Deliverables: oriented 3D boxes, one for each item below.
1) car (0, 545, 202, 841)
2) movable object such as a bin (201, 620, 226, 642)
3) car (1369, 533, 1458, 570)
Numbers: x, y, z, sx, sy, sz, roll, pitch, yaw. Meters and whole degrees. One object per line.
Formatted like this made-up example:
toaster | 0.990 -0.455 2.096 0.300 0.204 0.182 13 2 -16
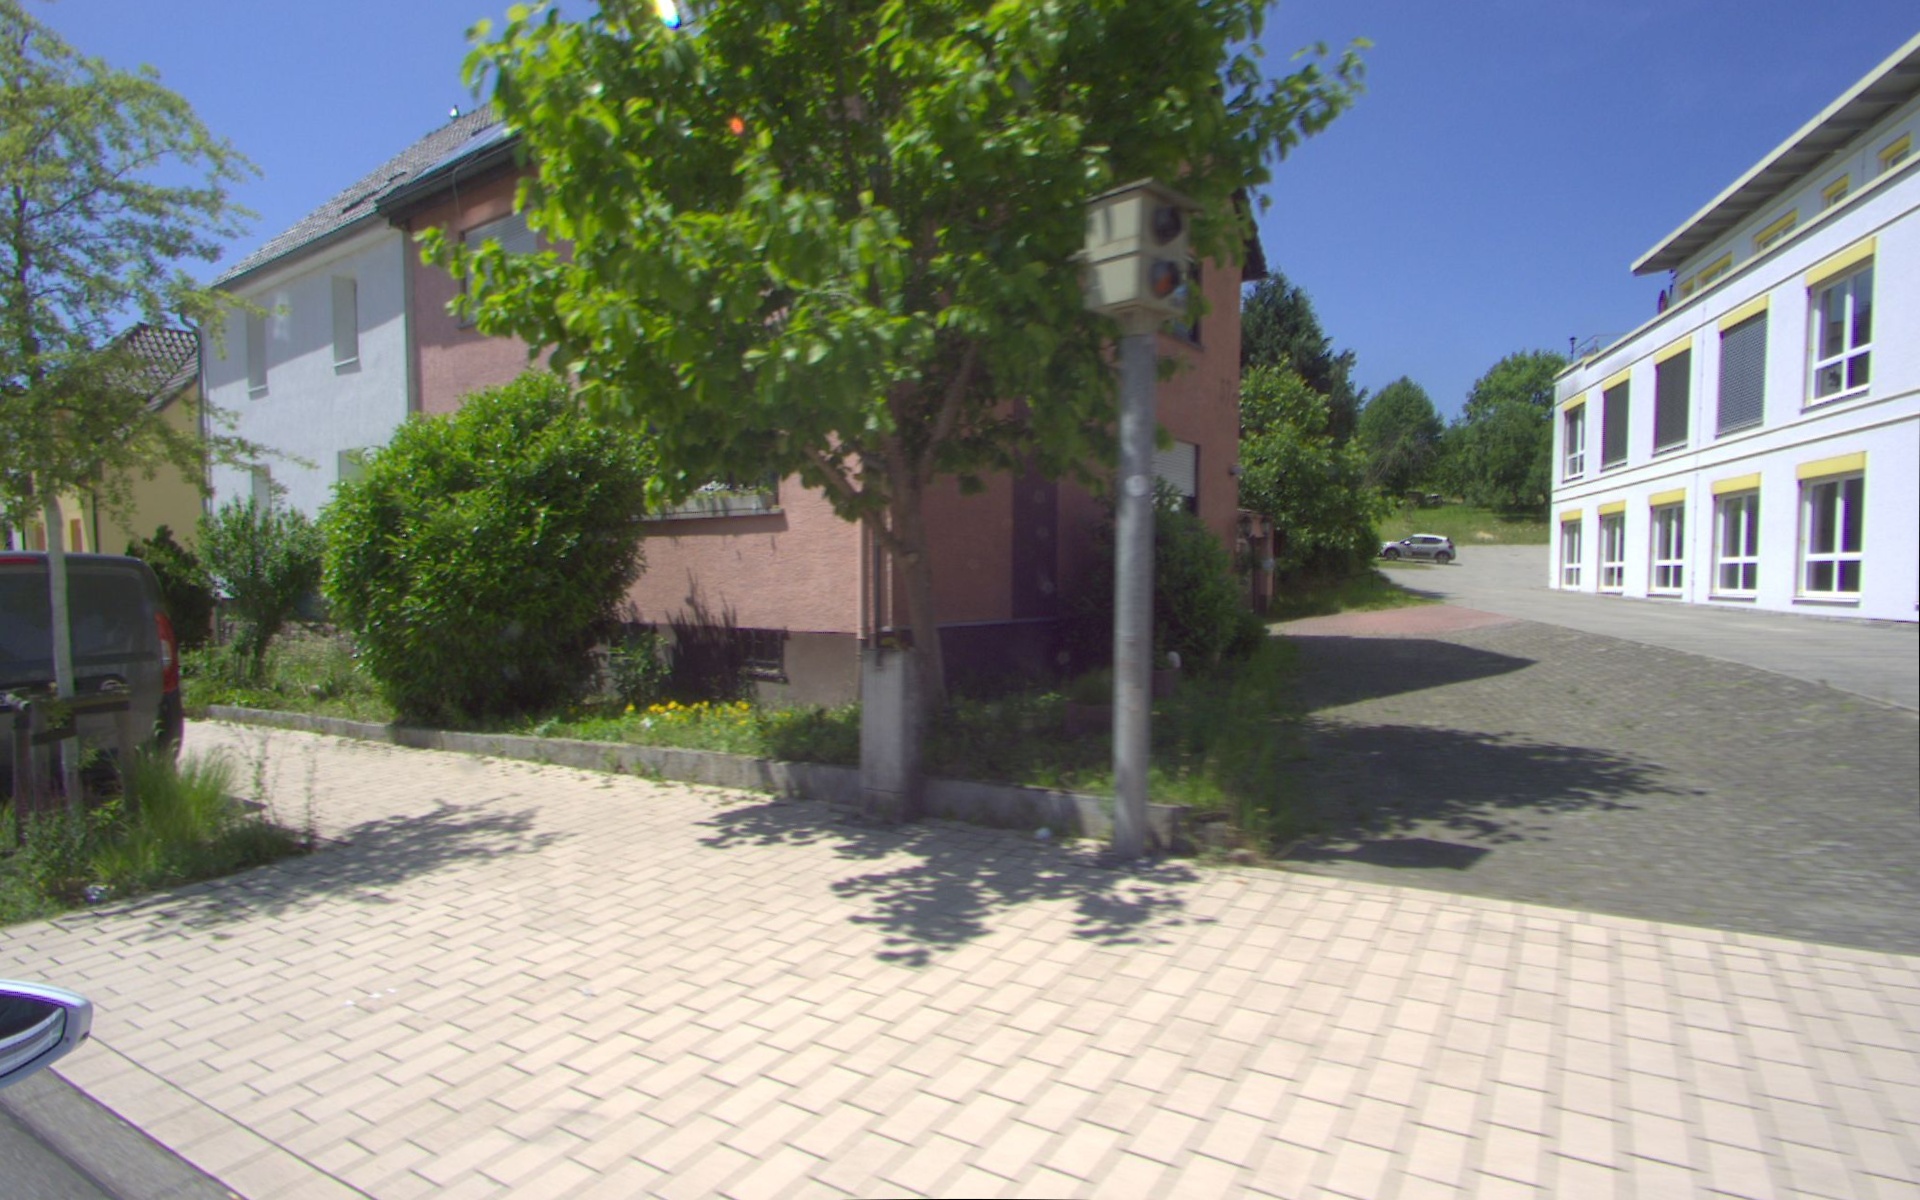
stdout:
car | -7.886 0.593 7.718 4.606 1.867 1.849 0 2 34
movable object such as a bin | -19.672 0.813 26.376 0.370 0.579 0.452 0 0 37
car | 24.698 -2.616 54.588 4.349 1.780 1.993 0 -1 26
